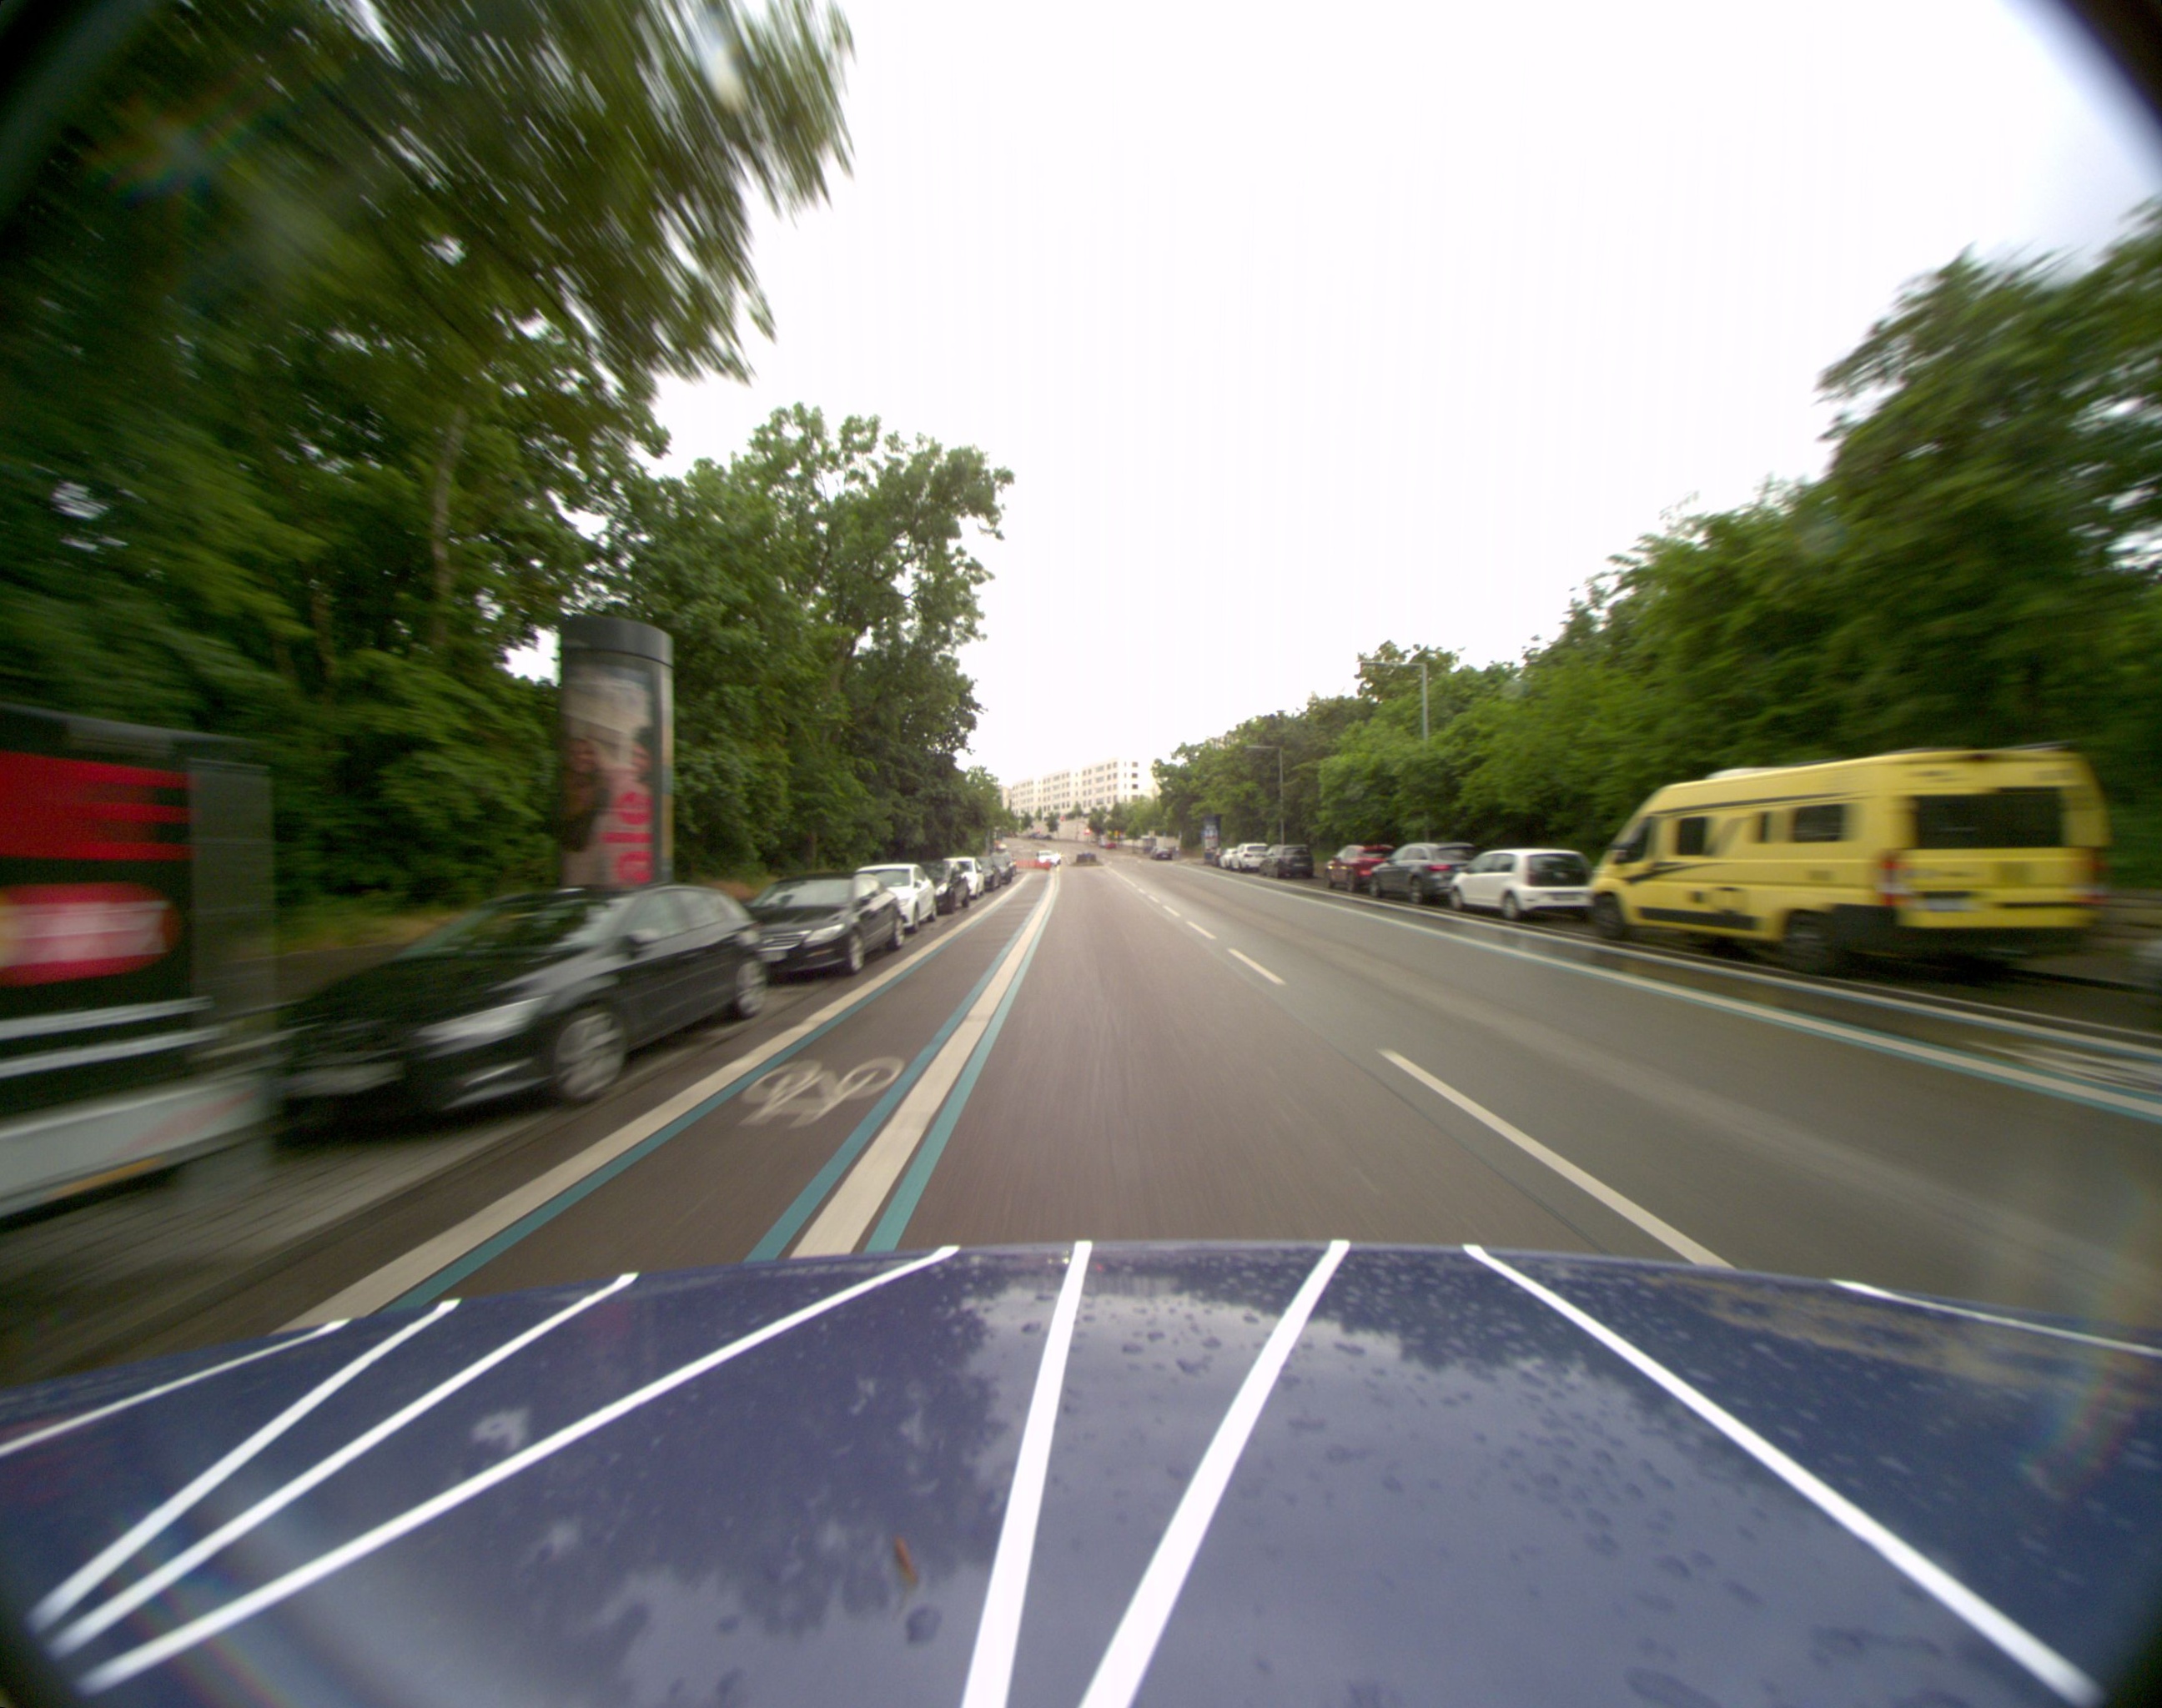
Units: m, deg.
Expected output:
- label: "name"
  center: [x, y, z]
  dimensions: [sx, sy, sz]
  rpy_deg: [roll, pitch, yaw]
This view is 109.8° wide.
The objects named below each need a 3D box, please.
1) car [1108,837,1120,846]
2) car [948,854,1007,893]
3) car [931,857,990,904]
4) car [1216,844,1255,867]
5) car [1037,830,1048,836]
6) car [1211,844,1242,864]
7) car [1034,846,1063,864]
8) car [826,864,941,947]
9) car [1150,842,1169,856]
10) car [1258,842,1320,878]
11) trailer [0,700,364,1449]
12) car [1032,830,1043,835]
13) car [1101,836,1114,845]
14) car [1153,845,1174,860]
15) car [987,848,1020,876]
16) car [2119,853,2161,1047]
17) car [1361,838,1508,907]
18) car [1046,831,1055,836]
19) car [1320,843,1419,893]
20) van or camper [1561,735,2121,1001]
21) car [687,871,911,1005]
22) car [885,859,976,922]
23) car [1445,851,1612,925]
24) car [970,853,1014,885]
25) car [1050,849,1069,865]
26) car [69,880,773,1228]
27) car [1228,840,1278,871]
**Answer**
- label: "car"
  center: [6.512, -2.469, 148.337]
  dimensions: [1.670, 1.578, 4.212]
  rpy_deg: [-1, 3, -7]
- label: "car"
  center: [-4.407, 0.786, 32.926]
  dimensions: [1.861, 1.447, 4.750]
  rpy_deg: [-2, 1, 0]
- label: "car"
  center: [-4.279, 0.892, 27.363]
  dimensions: [1.564, 1.452, 3.675]
  rpy_deg: [-3, 1, -2]
- label: "car"
  center: [10.599, 0.071, 52.488]
  dimensions: [1.723, 1.452, 4.707]
  rpy_deg: [-2, 1, 0]
- label: "car"
  center: [-11.309, -6.160, 223.871]
  dimensions: [1.866, 1.470, 3.990]
  rpy_deg: [-2, 3, -25]
- label: "car"
  center: [11.013, -0.028, 57.845]
  dimensions: [1.753, 1.437, 4.587]
  rpy_deg: [-2, 1, 4]
- label: "car"
  center: [-3.143, 0.103, 73.147]
  dimensions: [1.929, 1.652, 3.995]
  rpy_deg: [-2, 1, -14]
- label: "car"
  center: [-4.256, 1.045, 16.979]
  dimensions: [1.622, 1.458, 3.998]
  rpy_deg: [-3, 1, -3]
- label: "car"
  center: [9.598, -0.634, 92.980]
  dimensions: [1.845, 1.580, 4.927]
  rpy_deg: [-3, 2, 1]
- label: "car"
  center: [10.409, 0.269, 38.418]
  dimensions: [1.736, 1.639, 4.570]
  rpy_deg: [-2, 1, -2]
- label: "trailer"
  center: [-4.221, 0.688, 0.989]
  dimensions: [1.911, 2.234, 4.767]
  rpy_deg: [-2, 1, 1]
- label: "car"
  center: [-13.090, -6.439, 227.836]
  dimensions: [1.792, 1.623, 3.990]
  rpy_deg: [-1, 3, -24]
- label: "car"
  center: [5.367, -2.768, 154.670]
  dimensions: [1.769, 1.644, 4.878]
  rpy_deg: [-3, 3, -7]
- label: "car"
  center: [9.418, -0.201, 86.764]
  dimensions: [1.911, 1.406, 4.781]
  rpy_deg: [-3, 2, 1]
- label: "car"
  center: [-4.966, 0.498, 49.293]
  dimensions: [1.827, 1.605, 4.250]
  rpy_deg: [-3, 1, -3]
- label: "car"
  center: [9.163, 0.748, 4.006]
  dimensions: [1.684, 1.490, 4.148]
  rpy_deg: [-1, 1, -1]
- label: "car"
  center: [9.786, 0.457, 21.523]
  dimensions: [1.999, 1.690, 4.614]
  rpy_deg: [-1, 1, 0]
- label: "car"
  center: [-8.905, -5.864, 218.440]
  dimensions: [1.683, 1.451, 2.689]
  rpy_deg: [-1, 3, -25]
- label: "car"
  center: [10.109, 0.443, 27.001]
  dimensions: [1.923, 1.607, 4.489]
  rpy_deg: [-1, 1, 2]
- label: "van or camper"
  center: [9.375, 0.123, 10.424]
  dimensions: [2.148, 2.612, 5.682]
  rpy_deg: [-1, 1, 2]
- label: "car"
  center: [-3.936, 1.069, 11.505]
  dimensions: [1.756, 1.385, 4.444]
  rpy_deg: [-3, 1, -2]
- label: "car"
  center: [-4.175, 0.959, 21.665]
  dimensions: [1.663, 1.456, 3.899]
  rpy_deg: [-4, 1, 1]
- label: "car"
  center: [9.640, 0.658, 16.709]
  dimensions: [1.621, 1.440, 3.657]
  rpy_deg: [0, 1, 2]
- label: "car"
  center: [-4.498, 0.740, 38.951]
  dimensions: [1.858, 1.391, 4.383]
  rpy_deg: [-3, 1, -3]
- label: "car"
  center: [-2.491, 0.315, 85.892]
  dimensions: [1.830, 1.584, 3.997]
  rpy_deg: [-3, 2, -5]
- label: "car"
  center: [-4.184, 1.084, 5.959]
  dimensions: [1.827, 1.477, 4.199]
  rpy_deg: [-4, 1, -1]
- label: "car"
  center: [10.468, 0.031, 46.549]
  dimensions: [1.998, 1.755, 4.959]
  rpy_deg: [-2, 1, 1]
